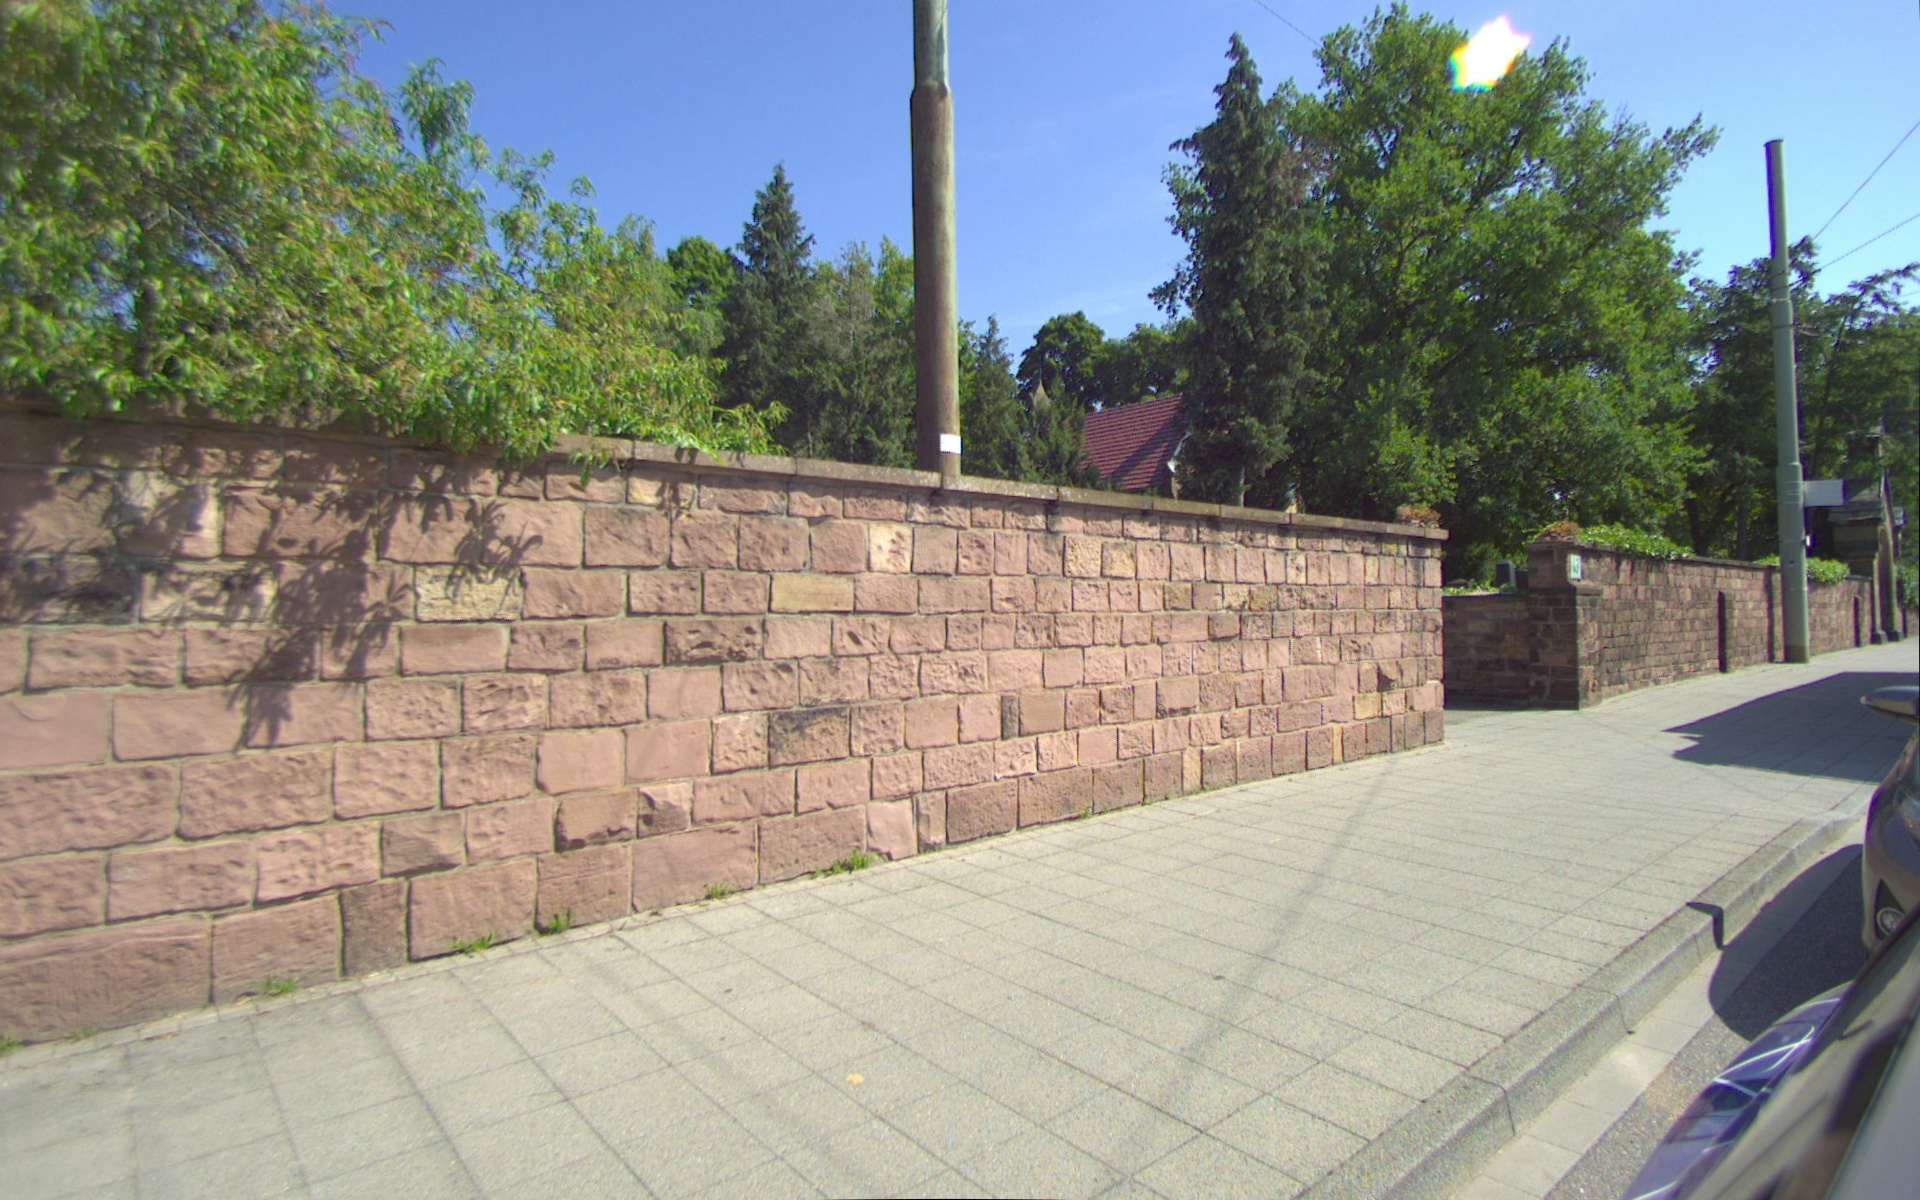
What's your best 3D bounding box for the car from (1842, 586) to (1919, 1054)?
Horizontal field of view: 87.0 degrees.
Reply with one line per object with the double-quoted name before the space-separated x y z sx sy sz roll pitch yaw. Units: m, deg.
"car" 5.076 0.672 4.047 4.384 1.451 1.741 0 0 -41
